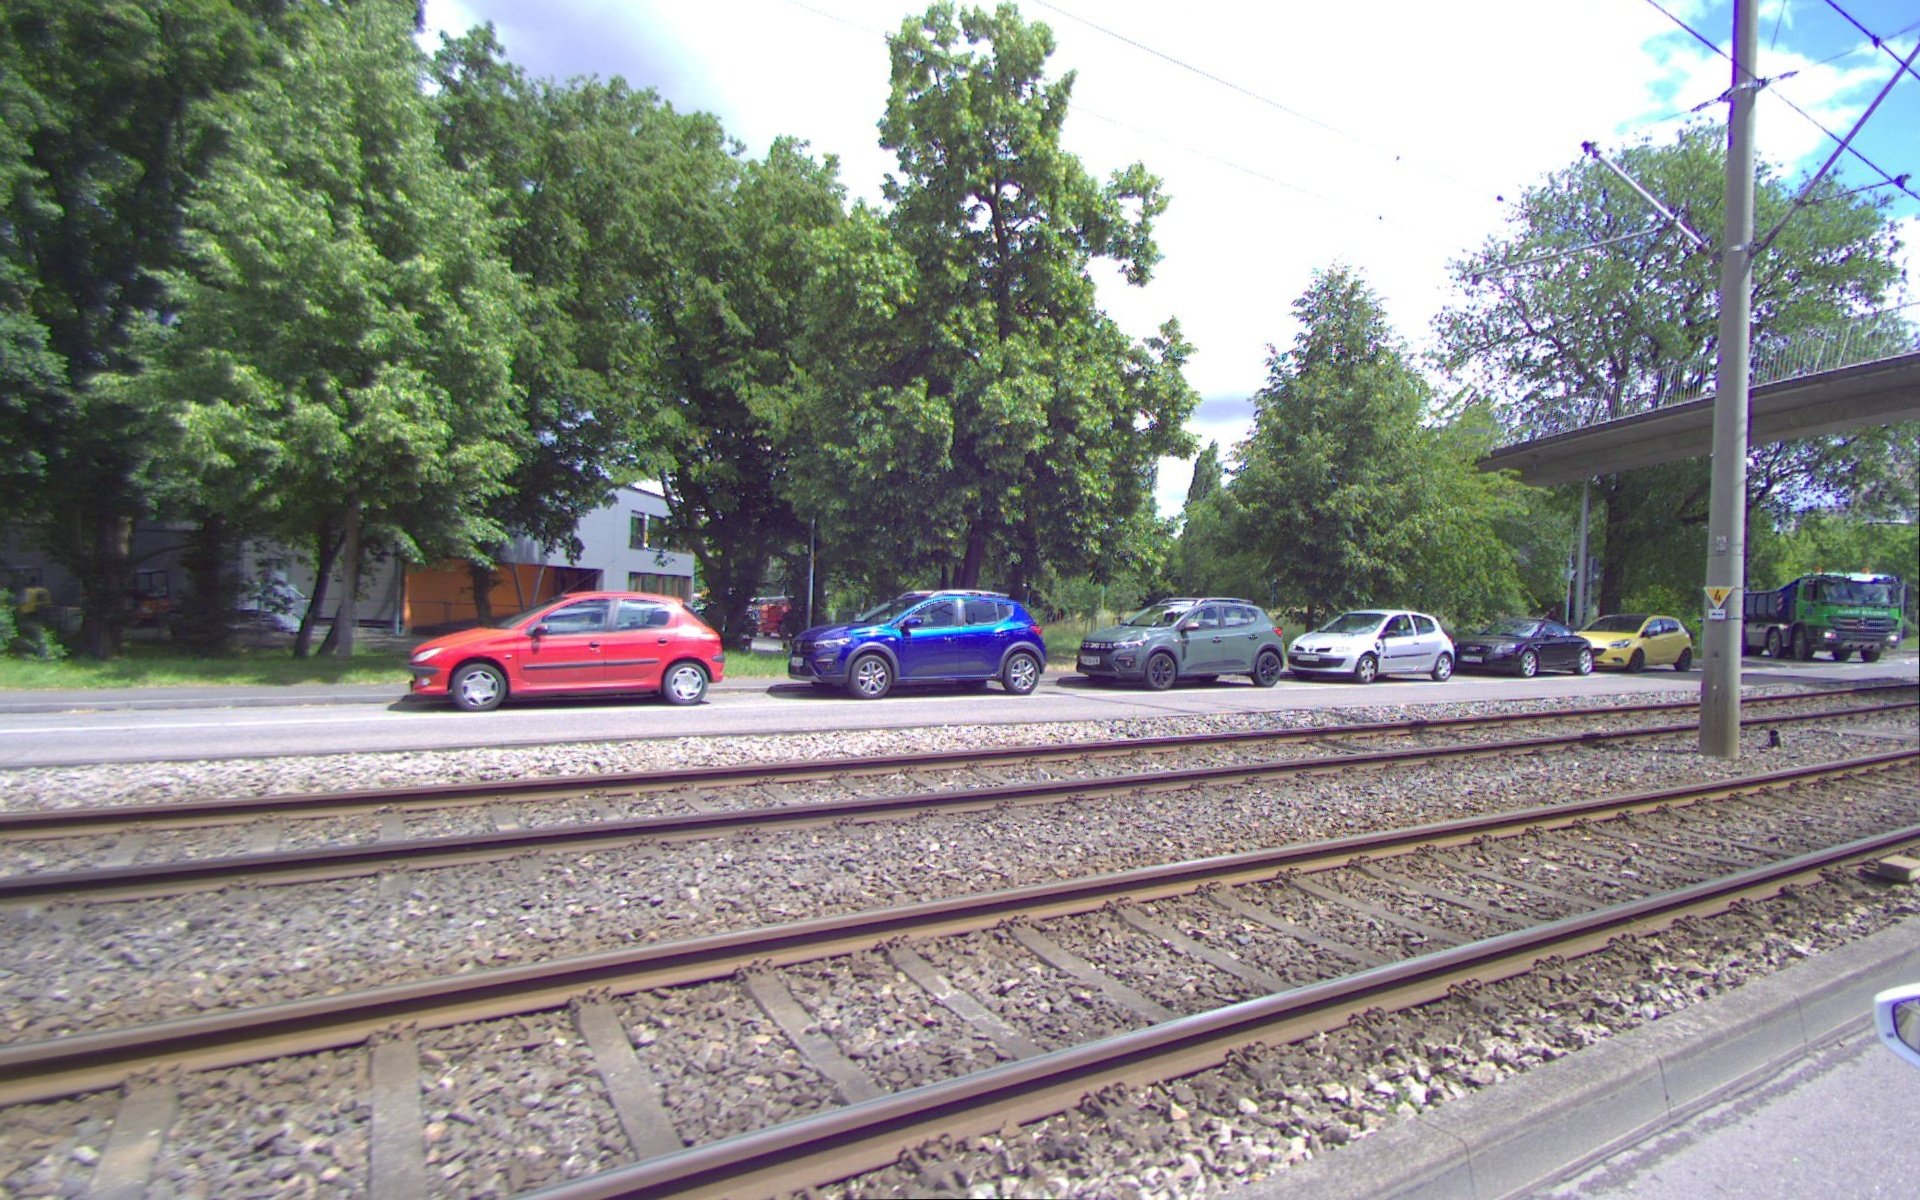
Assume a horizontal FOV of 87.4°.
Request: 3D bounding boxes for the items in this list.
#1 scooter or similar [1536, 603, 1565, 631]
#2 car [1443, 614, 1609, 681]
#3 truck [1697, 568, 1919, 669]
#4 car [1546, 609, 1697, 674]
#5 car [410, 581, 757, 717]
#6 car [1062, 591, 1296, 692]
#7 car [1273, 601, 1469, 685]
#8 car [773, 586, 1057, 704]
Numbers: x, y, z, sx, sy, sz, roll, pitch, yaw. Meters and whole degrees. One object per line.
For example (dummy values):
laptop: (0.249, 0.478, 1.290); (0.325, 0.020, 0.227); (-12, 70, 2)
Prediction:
scooter or similar: (25.625, 0.737, 43.601); (0.778, 1.162, 0.707); (3, 1, -28)
car: (13.383, 1.127, 23.701); (4.080, 1.378, 1.504); (3, 1, -30)
truck: (33.037, 0.587, 39.744); (2.822, 3.364, 9.034); (4, 2, 14)
car: (17.344, 1.094, 26.303); (3.853, 1.469, 1.681); (3, 1, -30)
car: (-4.803, 0.559, 12.963); (3.998, 1.514, 1.606); (1, 1, -29)
car: (3.989, 0.722, 18.104); (4.076, 1.644, 1.635); (2, 0, -30)
car: (8.576, 0.902, 20.869); (4.146, 1.514, 1.584); (2, 2, -32)
car: (-0.638, 0.653, 15.386); (4.111, 1.617, 1.550); (1, -1, -30)
